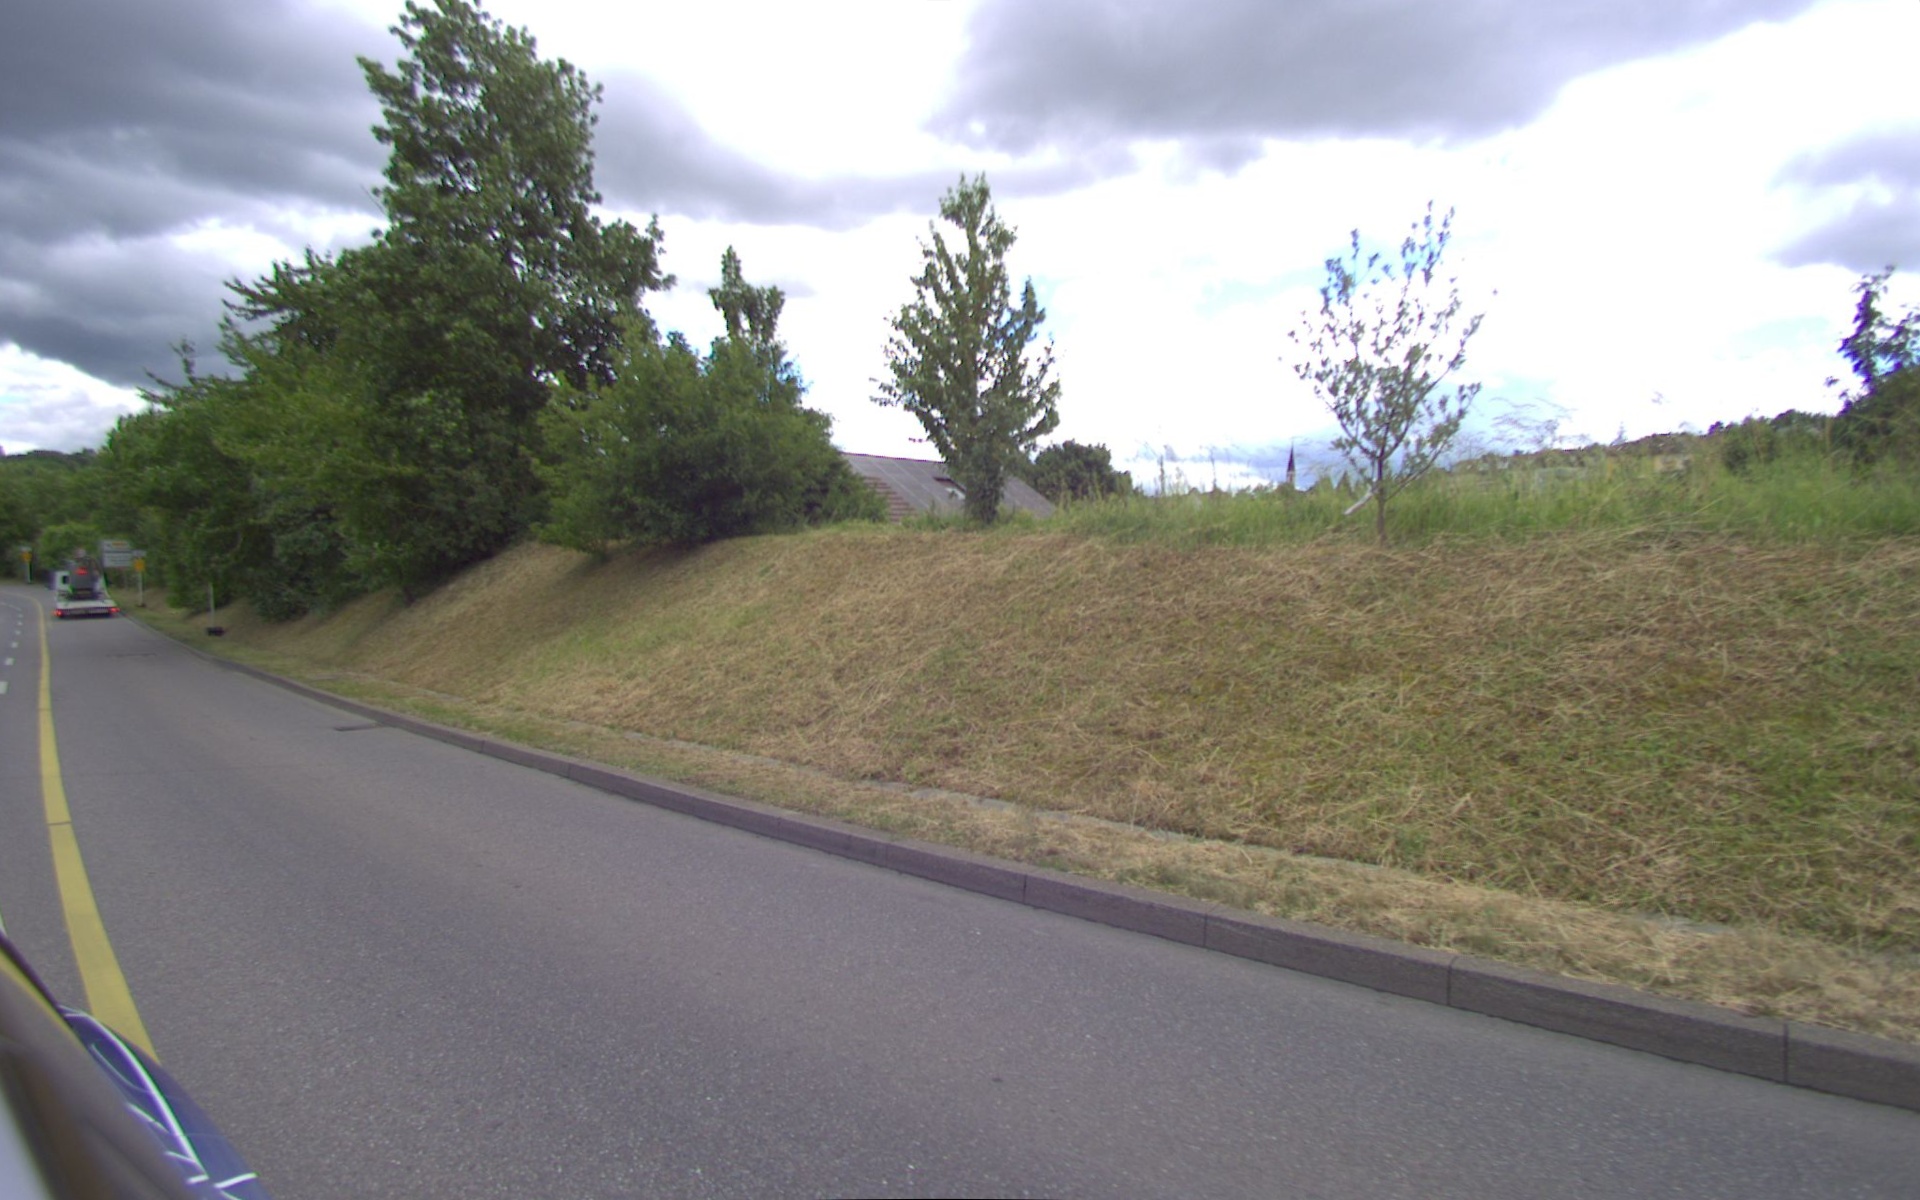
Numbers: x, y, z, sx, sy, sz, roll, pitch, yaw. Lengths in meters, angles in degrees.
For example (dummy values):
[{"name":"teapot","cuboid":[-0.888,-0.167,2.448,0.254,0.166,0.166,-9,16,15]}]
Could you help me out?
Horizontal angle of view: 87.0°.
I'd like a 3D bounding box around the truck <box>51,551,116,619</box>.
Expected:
[{"name":"truck","cuboid":[-42.284,-0.659,48.741,2.188,3.037,7.748,0,0,-42]}]
